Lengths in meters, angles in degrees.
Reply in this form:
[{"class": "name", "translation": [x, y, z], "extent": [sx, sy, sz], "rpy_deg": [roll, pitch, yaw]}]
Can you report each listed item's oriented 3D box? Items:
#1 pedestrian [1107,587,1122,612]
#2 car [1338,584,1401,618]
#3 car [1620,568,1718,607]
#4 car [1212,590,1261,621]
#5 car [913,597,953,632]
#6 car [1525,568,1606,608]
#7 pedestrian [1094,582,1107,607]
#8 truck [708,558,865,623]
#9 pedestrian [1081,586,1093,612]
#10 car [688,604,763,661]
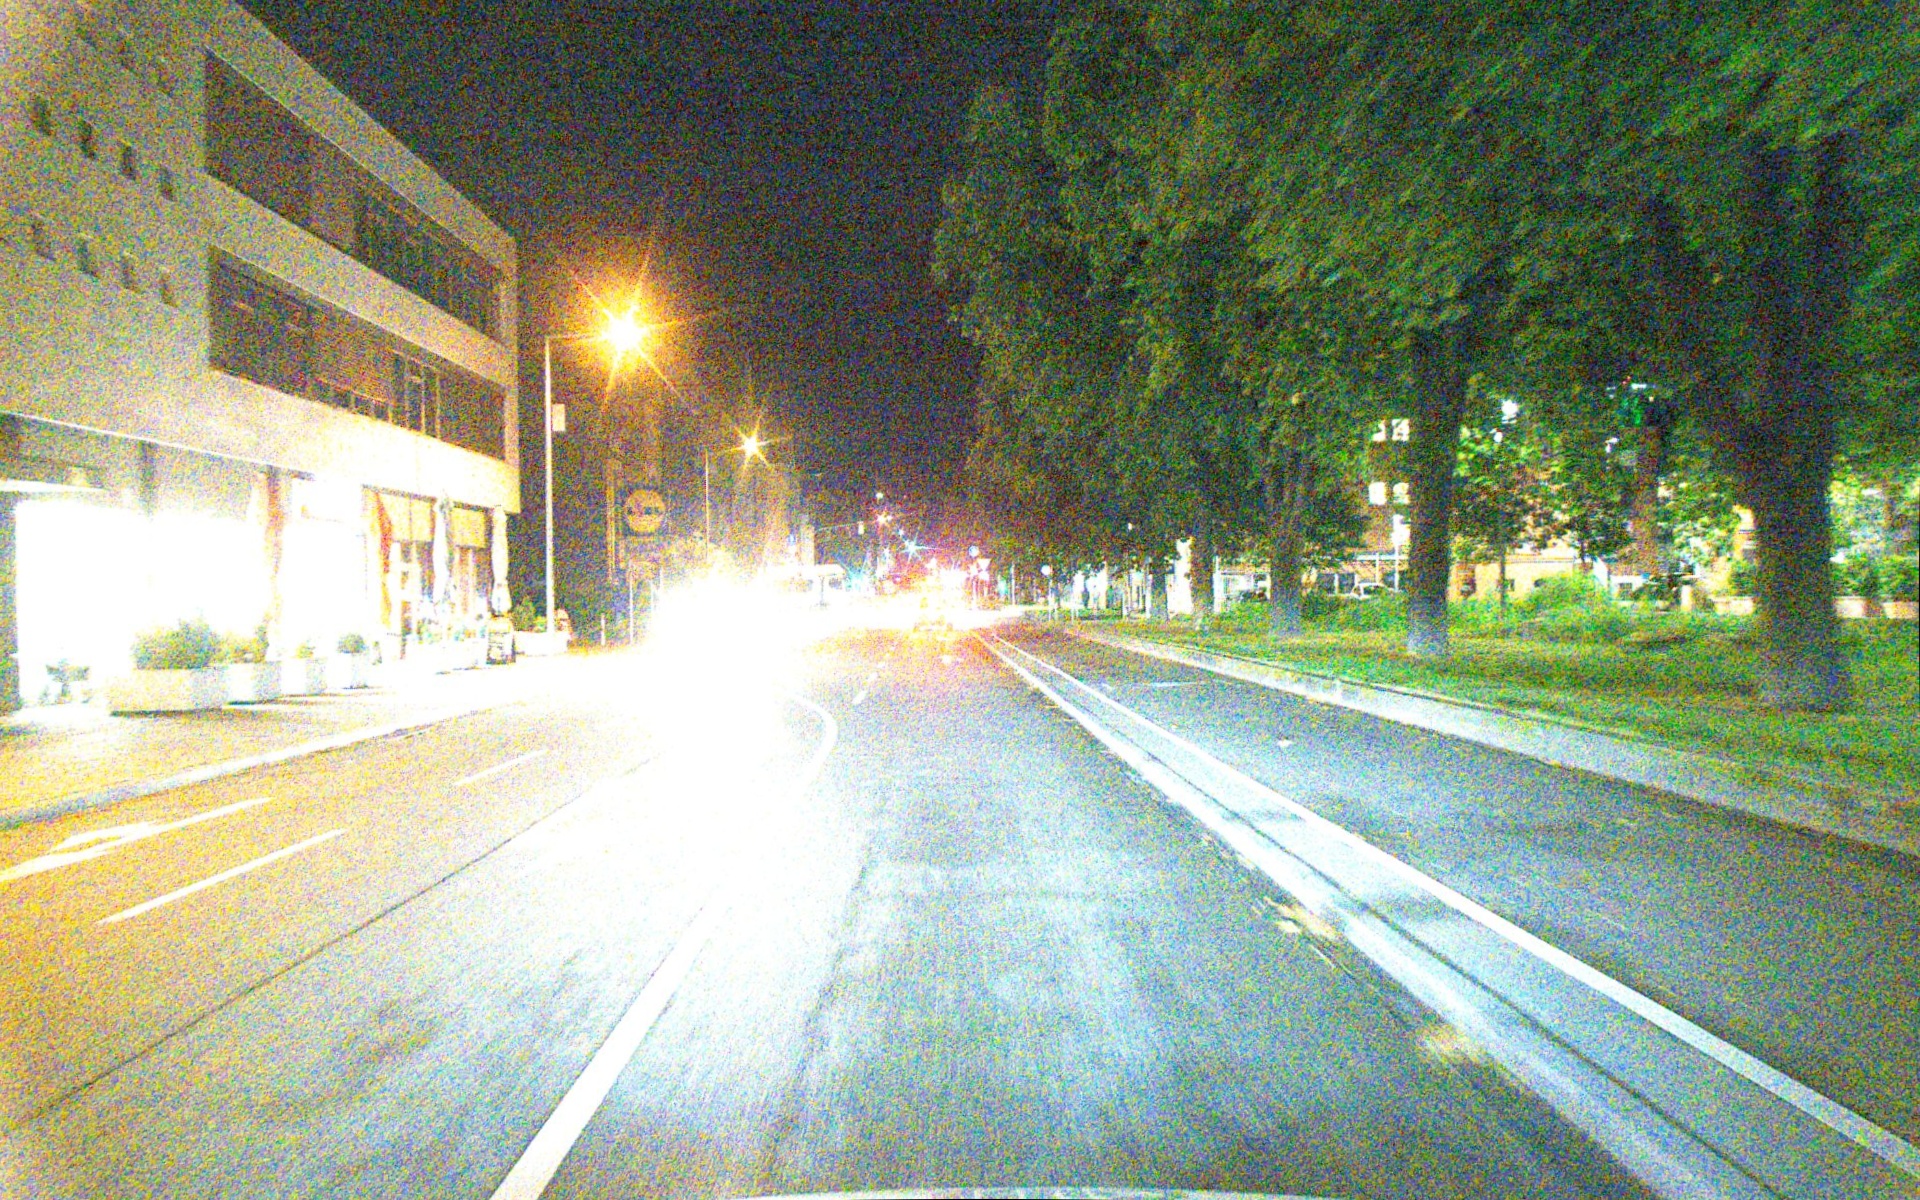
[{"class": "pedestrian", "translation": [11.187, -0.042, 119.993], "extent": [0.883, 1.800, 0.906], "rpy_deg": [-2, 0, -5]}, {"class": "car", "translation": [20.202, 0.040, 81.769], "extent": [1.747, 1.560, 3.995], "rpy_deg": [-2, 0, -6]}, {"class": "car", "translation": [29.764, -0.508, 69.589], "extent": [1.851, 1.539, 4.889], "rpy_deg": [-2, 0, -3]}, {"class": "car", "translation": [13.516, 0.275, 81.070], "extent": [1.482, 1.419, 4.480], "rpy_deg": [-2, 0, -2]}, {"class": "car", "translation": [-1.219, 0.636, 75.801], "extent": [1.768, 1.520, 4.729], "rpy_deg": [1, 0, -1]}, {"class": "car", "translation": [25.031, -0.490, 68.475], "extent": [1.732, 1.560, 4.097], "rpy_deg": [-2, 0, -1]}, {"class": "pedestrian", "translation": [10.175, -0.382, 119.753], "extent": [0.724, 1.800, 0.907], "rpy_deg": [-2, 0, -2]}, {"class": "truck", "translation": [-11.551, -0.612, 110.341], "extent": [9.865, 3.782, 2.766], "rpy_deg": [-3, 0, 8]}, {"class": "pedestrian", "translation": [9.195, -0.066, 119.830], "extent": [0.699, 1.800, 0.907], "rpy_deg": [-2, 0, -2]}, {"class": "car", "translation": [-6.600, 0.880, 46.926], "extent": [1.633, 1.453, 3.998], "rpy_deg": [-3, 0, -2]}]
